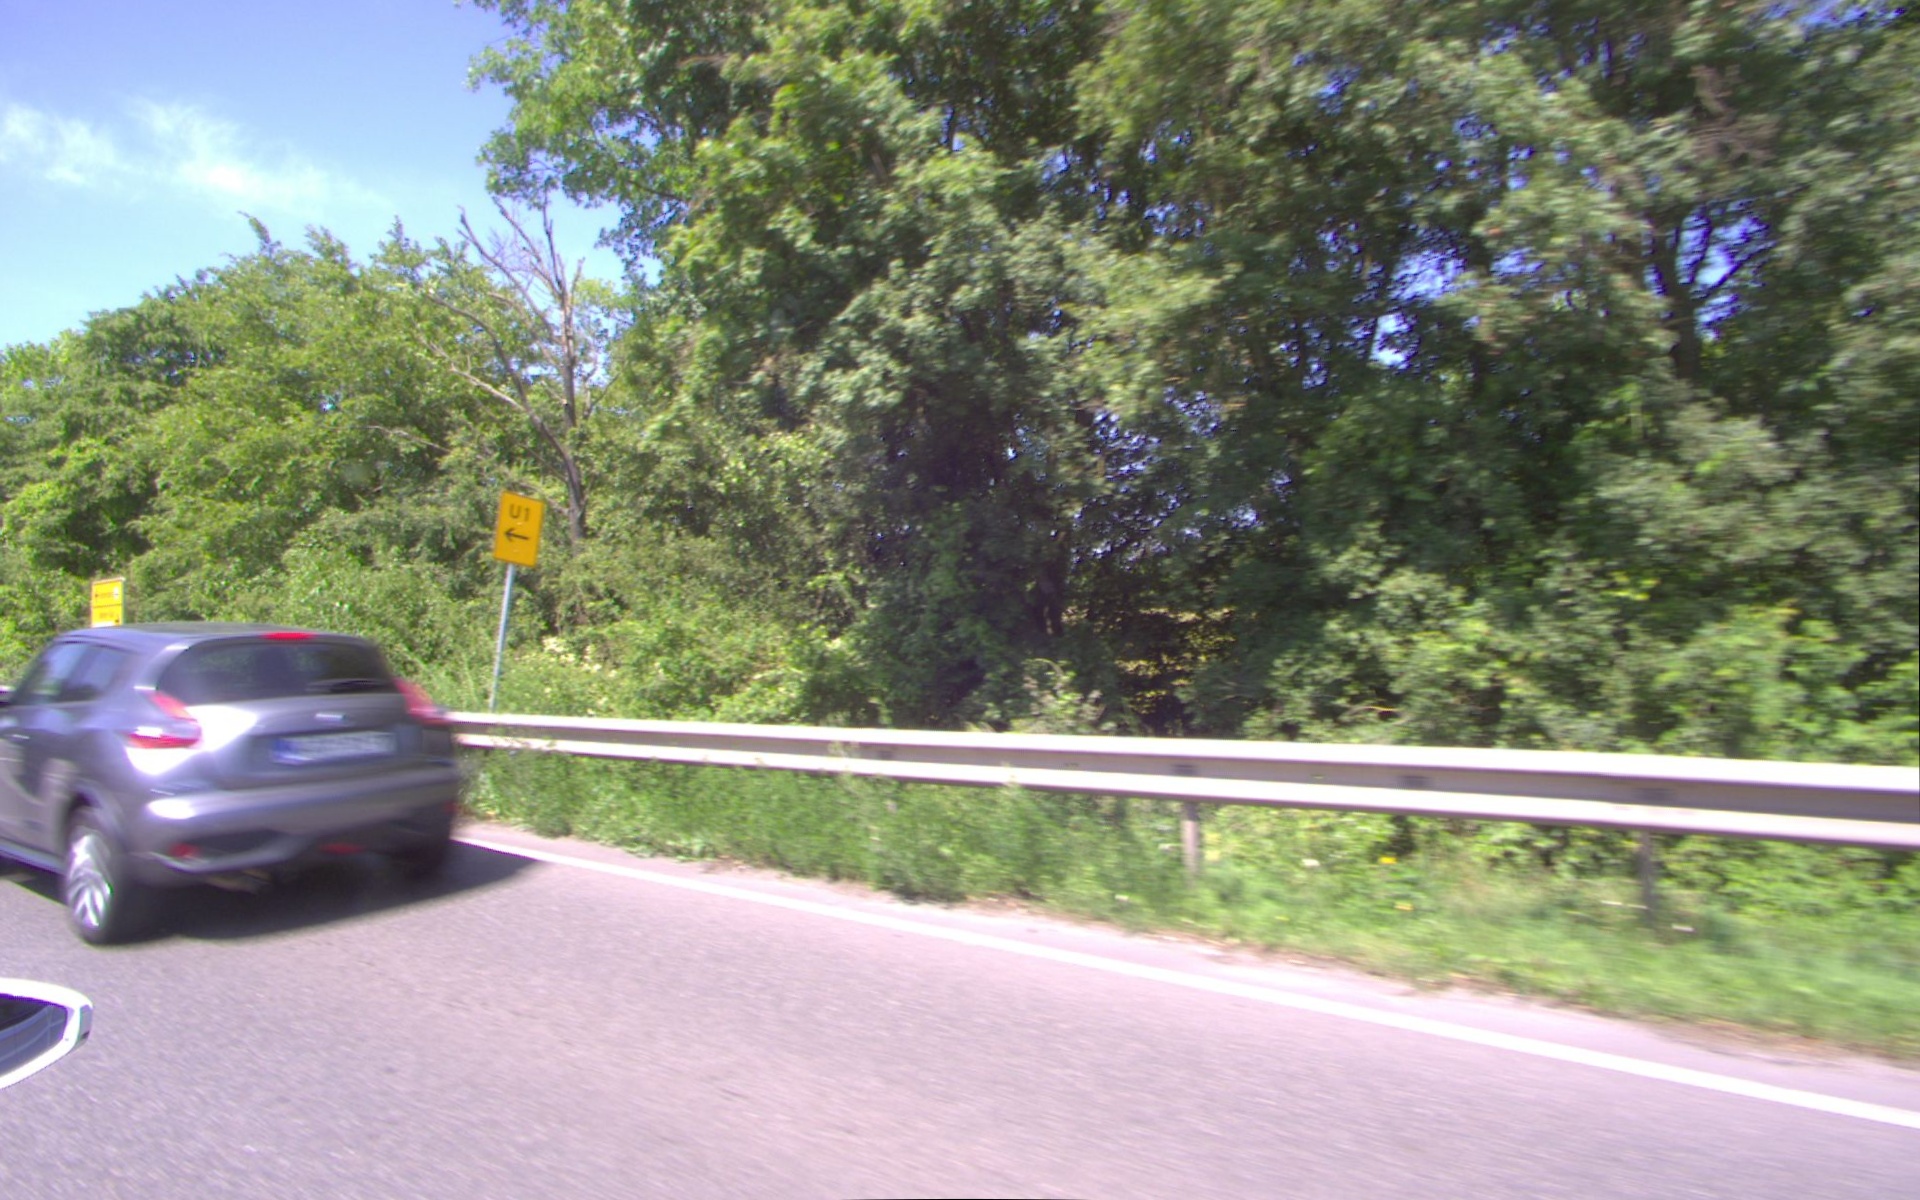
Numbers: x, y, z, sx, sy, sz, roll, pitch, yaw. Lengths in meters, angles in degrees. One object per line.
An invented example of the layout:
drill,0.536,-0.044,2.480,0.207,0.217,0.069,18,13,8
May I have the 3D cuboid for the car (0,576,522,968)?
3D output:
car,-4.740,0.798,6.218,3.943,1.706,1.840,-1,-1,32
